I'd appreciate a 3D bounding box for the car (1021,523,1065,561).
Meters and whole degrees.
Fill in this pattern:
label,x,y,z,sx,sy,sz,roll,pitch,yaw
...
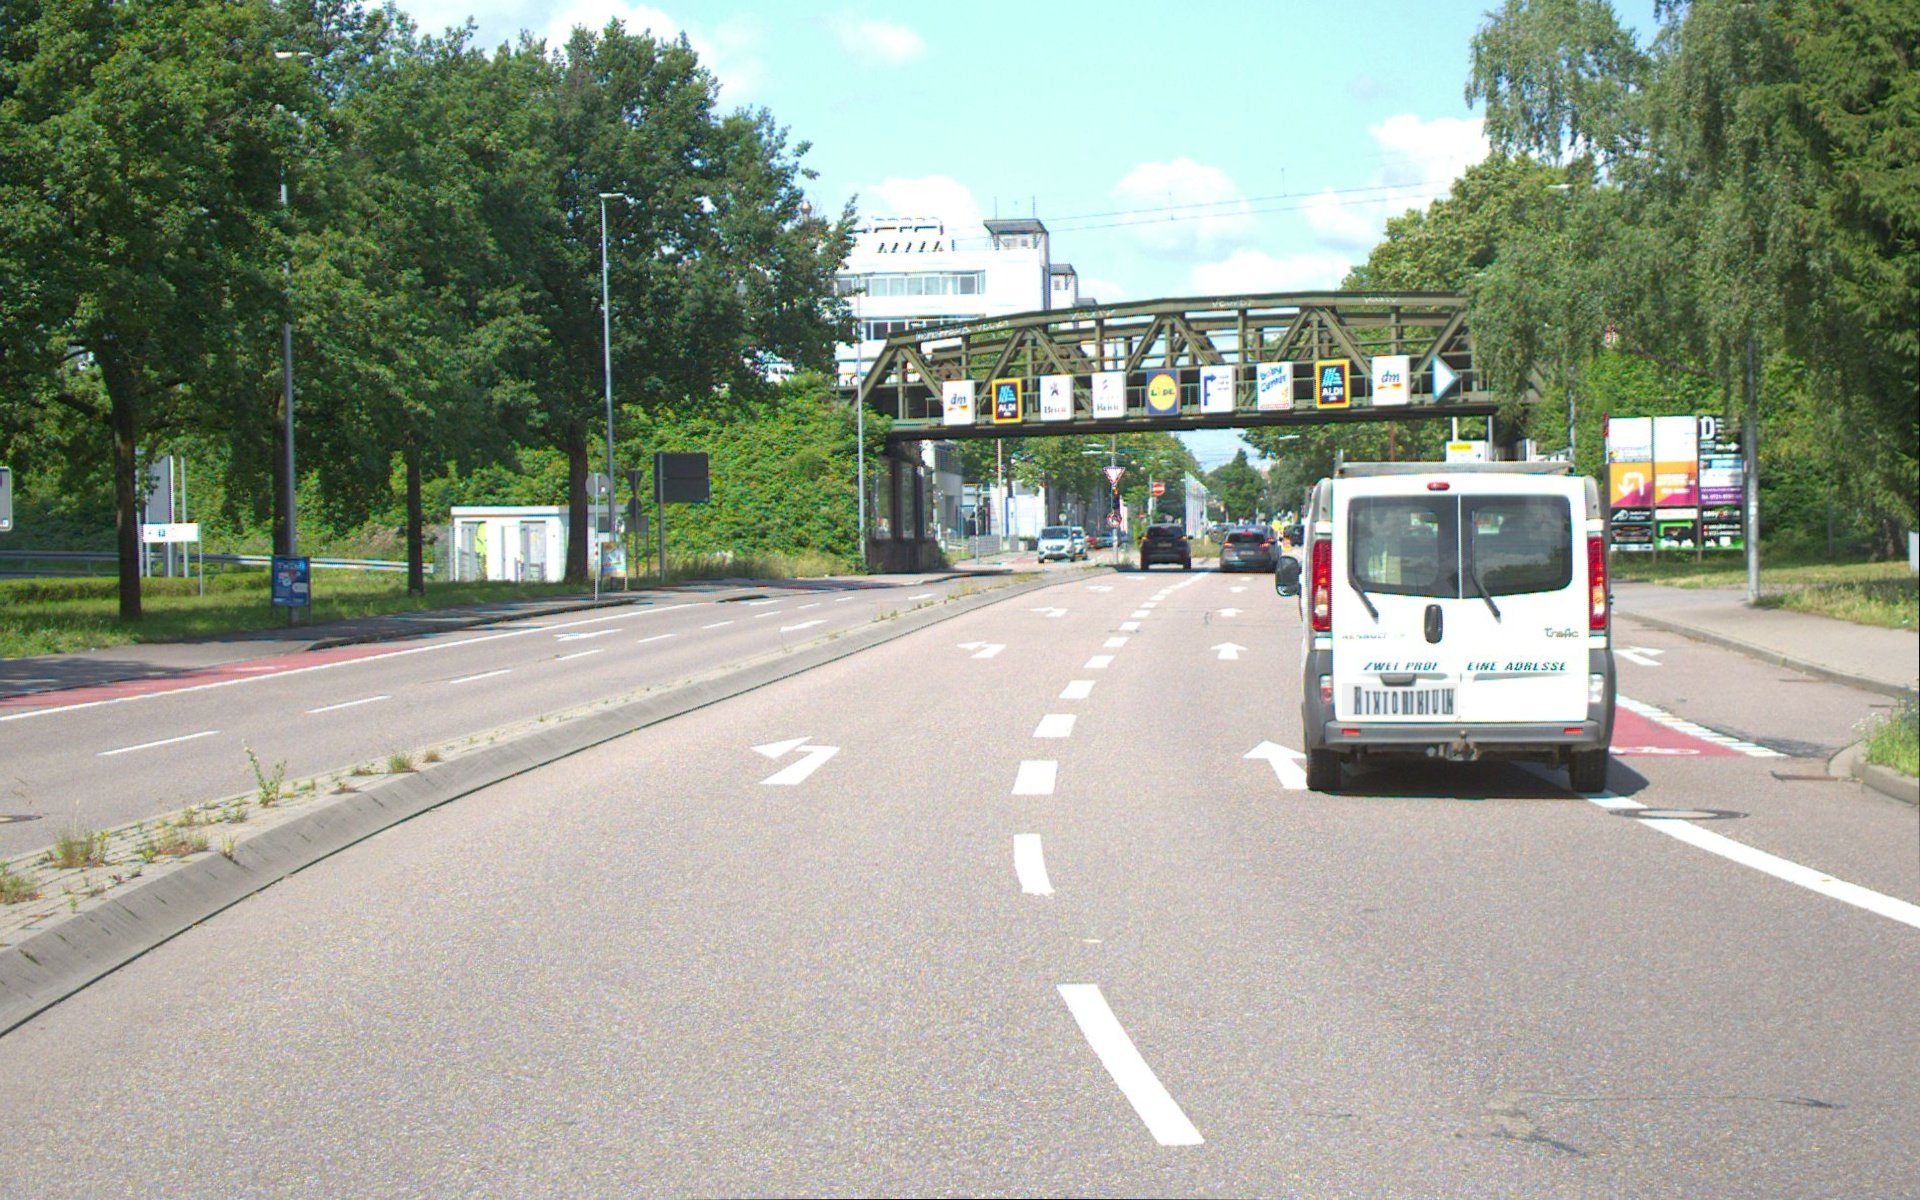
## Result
label,x,y,z,sx,sy,sz,roll,pitch,yaw
car,4.572,-3.185,188.827,1.994,2.007,3.999,-1,1,7

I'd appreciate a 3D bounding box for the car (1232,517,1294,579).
label,x,y,z,sx,sy,sz,roll,pitch,yaw
car,10.146,-1.768,115.156,1.994,2.007,4.000,-1,1,5

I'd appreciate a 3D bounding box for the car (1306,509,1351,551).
label,x,y,z,sx,sy,sz,roll,pitch,yaw
car,22.512,-4.301,210.007,2.379,2.467,4.760,-1,1,10

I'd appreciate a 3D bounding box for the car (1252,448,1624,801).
label,x,y,z,sx,sy,sz,roll,pitch,yaw
car,3.009,0.050,22.527,1.973,2.052,4.565,-1,3,3

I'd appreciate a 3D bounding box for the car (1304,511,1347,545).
label,x,y,z,sx,sy,sz,roll,pitch,yaw
car,19.104,-3.784,179.665,1.994,1.704,4.095,-1,1,9

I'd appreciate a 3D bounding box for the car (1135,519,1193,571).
label,x,y,z,sx,sy,sz,roll,pitch,yaw
car,7.560,-2.048,127.067,1.994,1.765,4.000,0,3,6
